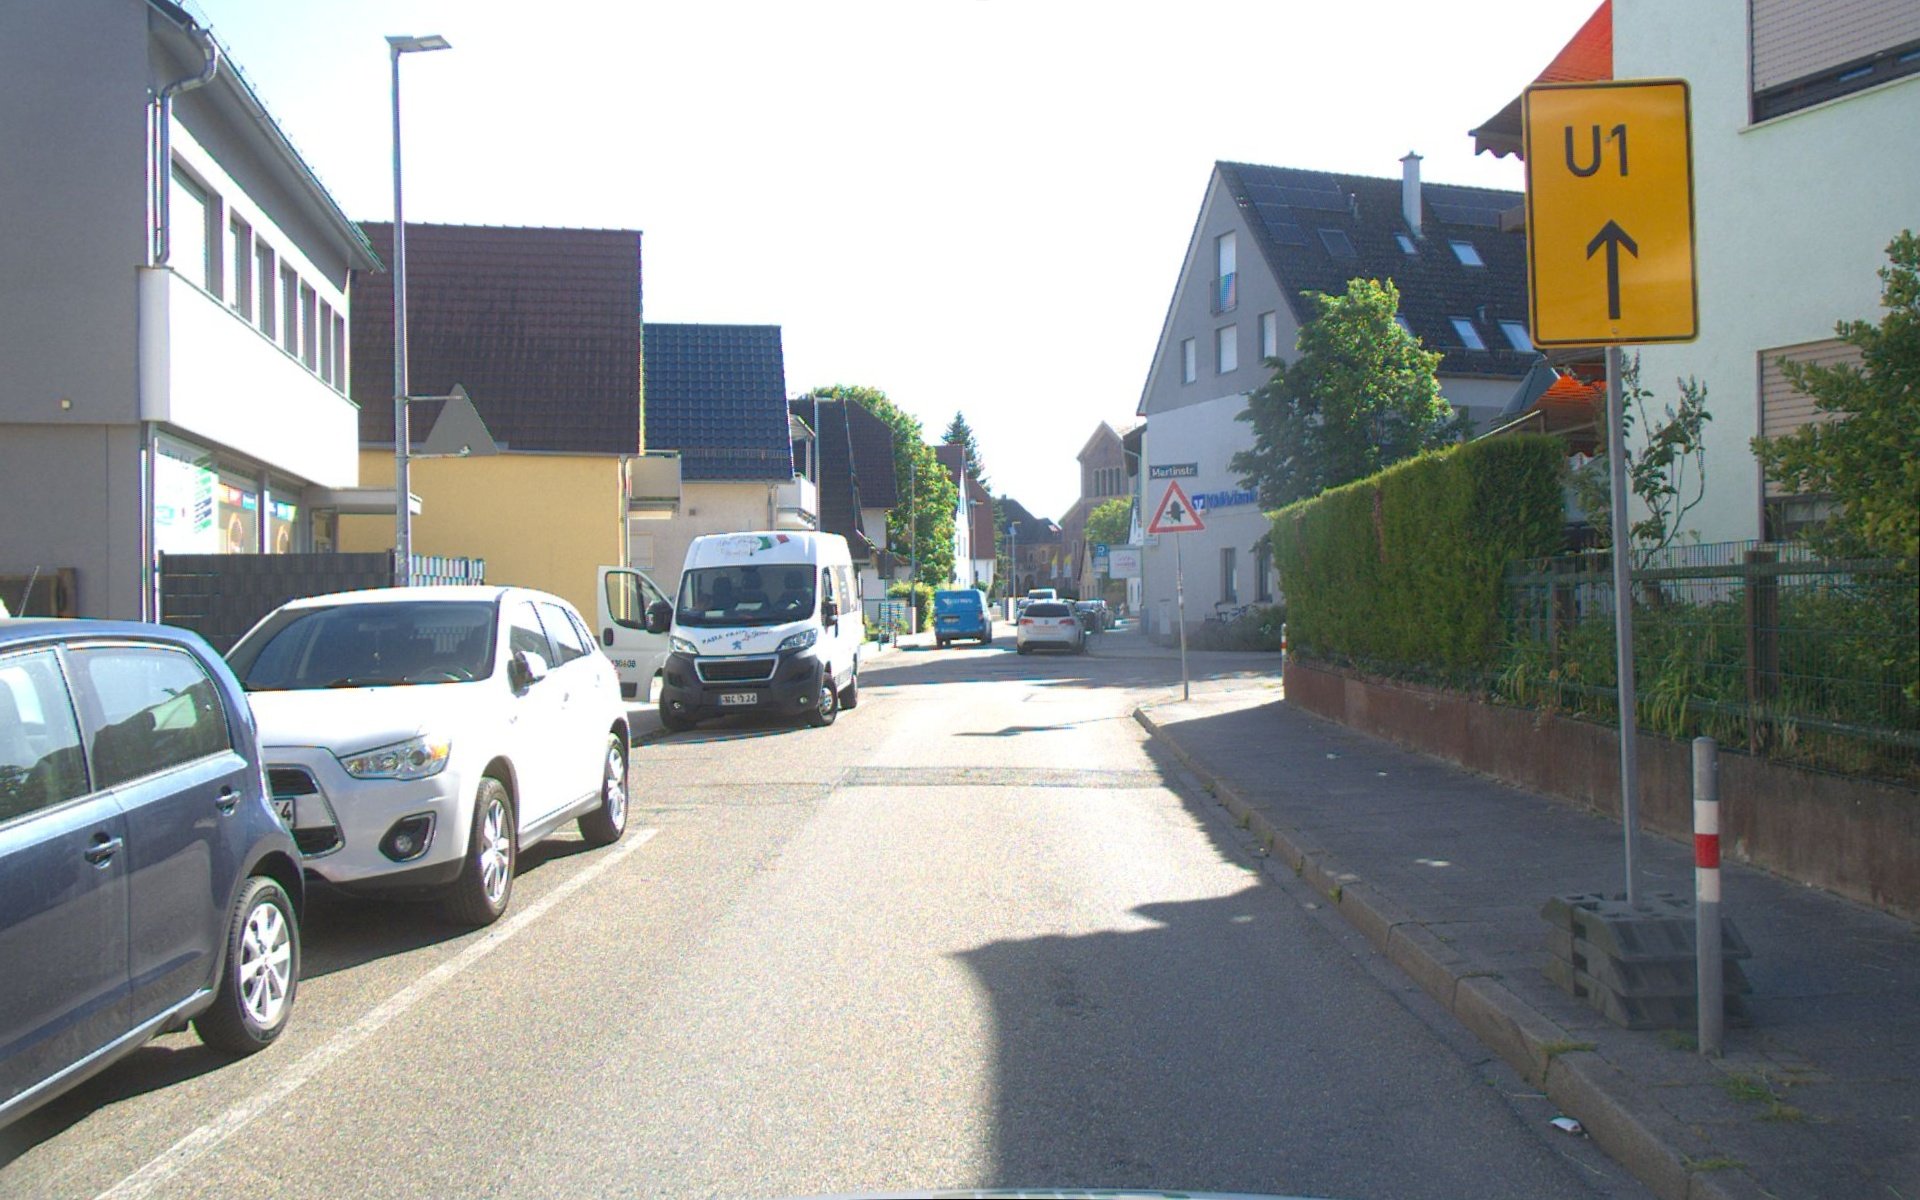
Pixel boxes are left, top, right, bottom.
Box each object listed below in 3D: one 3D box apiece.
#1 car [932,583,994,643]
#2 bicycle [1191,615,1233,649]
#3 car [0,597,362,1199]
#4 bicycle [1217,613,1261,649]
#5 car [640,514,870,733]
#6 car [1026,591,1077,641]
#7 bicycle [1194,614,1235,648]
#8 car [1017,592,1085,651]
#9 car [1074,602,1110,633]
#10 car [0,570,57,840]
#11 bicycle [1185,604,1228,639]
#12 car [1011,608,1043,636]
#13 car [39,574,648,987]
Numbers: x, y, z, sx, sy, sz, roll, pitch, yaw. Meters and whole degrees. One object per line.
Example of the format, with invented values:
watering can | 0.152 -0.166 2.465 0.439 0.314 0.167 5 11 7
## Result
car | 0.156 0.440 58.638 1.863 1.951 5.072 -3 0 3
bicycle | 7.232 0.912 47.445 1.138 0.936 0.313 -2 0 12
car | -3.078 0.794 4.355 1.621 1.533 3.684 -2 0 0
bicycle | 7.734 0.857 45.872 1.138 0.936 0.313 -2 0 2
car | -2.565 0.260 22.246 2.206 2.513 5.517 -2 0 1
car | 2.978 0.494 53.531 1.576 1.547 3.973 0 0 3
bicycle | 7.362 0.903 47.819 1.138 0.936 0.313 -2 0 12
car | 2.648 0.574 47.534 1.807 1.540 4.509 -1 1 4
car | 6.795 0.879 85.038 1.773 1.501 4.663 -1 0 5
car | -6.446 0.650 8.488 1.610 1.614 4.108 -1 0 -5
bicycle | 7.220 0.637 48.418 1.196 0.992 0.320 -2 0 18
car | 4.315 1.366 105.521 1.678 1.626 3.928 -3 0 6
car | -2.933 0.732 8.894 1.687 1.646 4.112 -2 0 0
